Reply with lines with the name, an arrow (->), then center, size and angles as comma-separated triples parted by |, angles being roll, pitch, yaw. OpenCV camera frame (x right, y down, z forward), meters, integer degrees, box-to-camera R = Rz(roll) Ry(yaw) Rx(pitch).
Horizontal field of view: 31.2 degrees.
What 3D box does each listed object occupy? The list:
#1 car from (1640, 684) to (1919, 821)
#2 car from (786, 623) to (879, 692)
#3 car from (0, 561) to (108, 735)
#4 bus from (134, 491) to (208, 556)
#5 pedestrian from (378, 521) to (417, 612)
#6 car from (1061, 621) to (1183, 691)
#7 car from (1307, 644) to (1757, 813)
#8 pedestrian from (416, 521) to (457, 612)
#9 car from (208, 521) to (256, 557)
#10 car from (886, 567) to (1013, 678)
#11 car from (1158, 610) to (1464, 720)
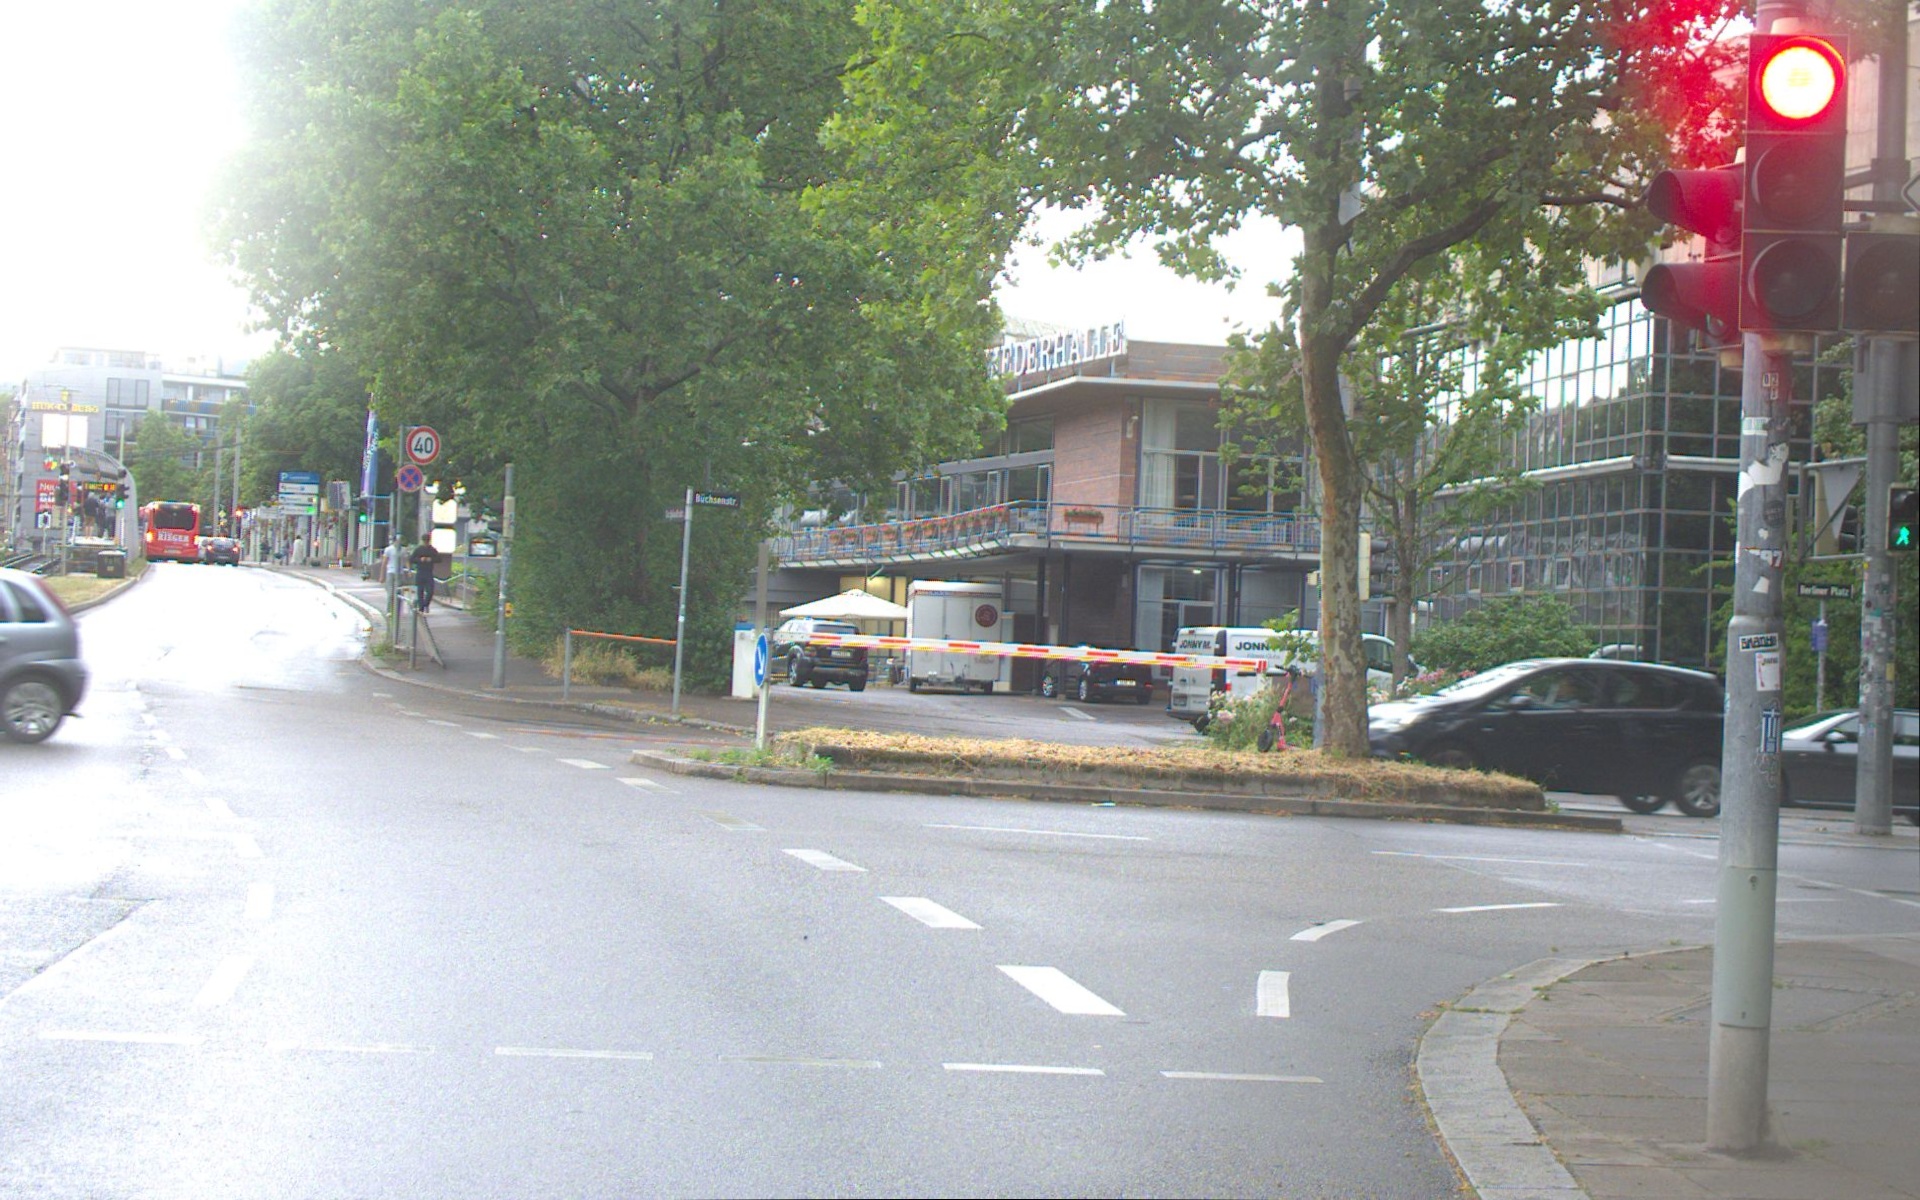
car -> 10.626, 1.834, 41.491 | 4.335, 1.514, 2.000 | 1, 1, -6
car -> -3.245, 1.454, 87.965 | 2.019, 1.546, 4.350 | 3, 1, 2
car -> -9.000, 0.314, 27.579 | 3.858, 1.352, 1.633 | 3, 1, -29
bus -> -40.504, -3.866, 176.430 | 3.589, 3.160, 10.423 | 1, 1, -13
pedestrian -> -12.572, -0.754, 76.856 | 0.814, 2.007, 1.077 | 1, 0, -8
car -> 4.172, 1.434, 89.178 | 2.019, 1.546, 4.351 | 3, 1, -13
car -> 5.421, 1.213, 32.783 | 3.858, 1.352, 1.633 | 3, 1, -8
pedestrian -> -11.720, -0.743, 76.950 | 0.874, 2.007, 1.077 | 1, 0, -8
car -> -38.413, -3.212, 181.412 | 2.362, 1.810, 5.185 | 1, 1, -13
car -> -0.350, 0.540, 91.440 | 2.731, 2.686, 6.923 | 3, 1, -5
car -> 6.357, 1.177, 62.222 | 5.198, 1.725, 1.875 | 3, 1, -25
